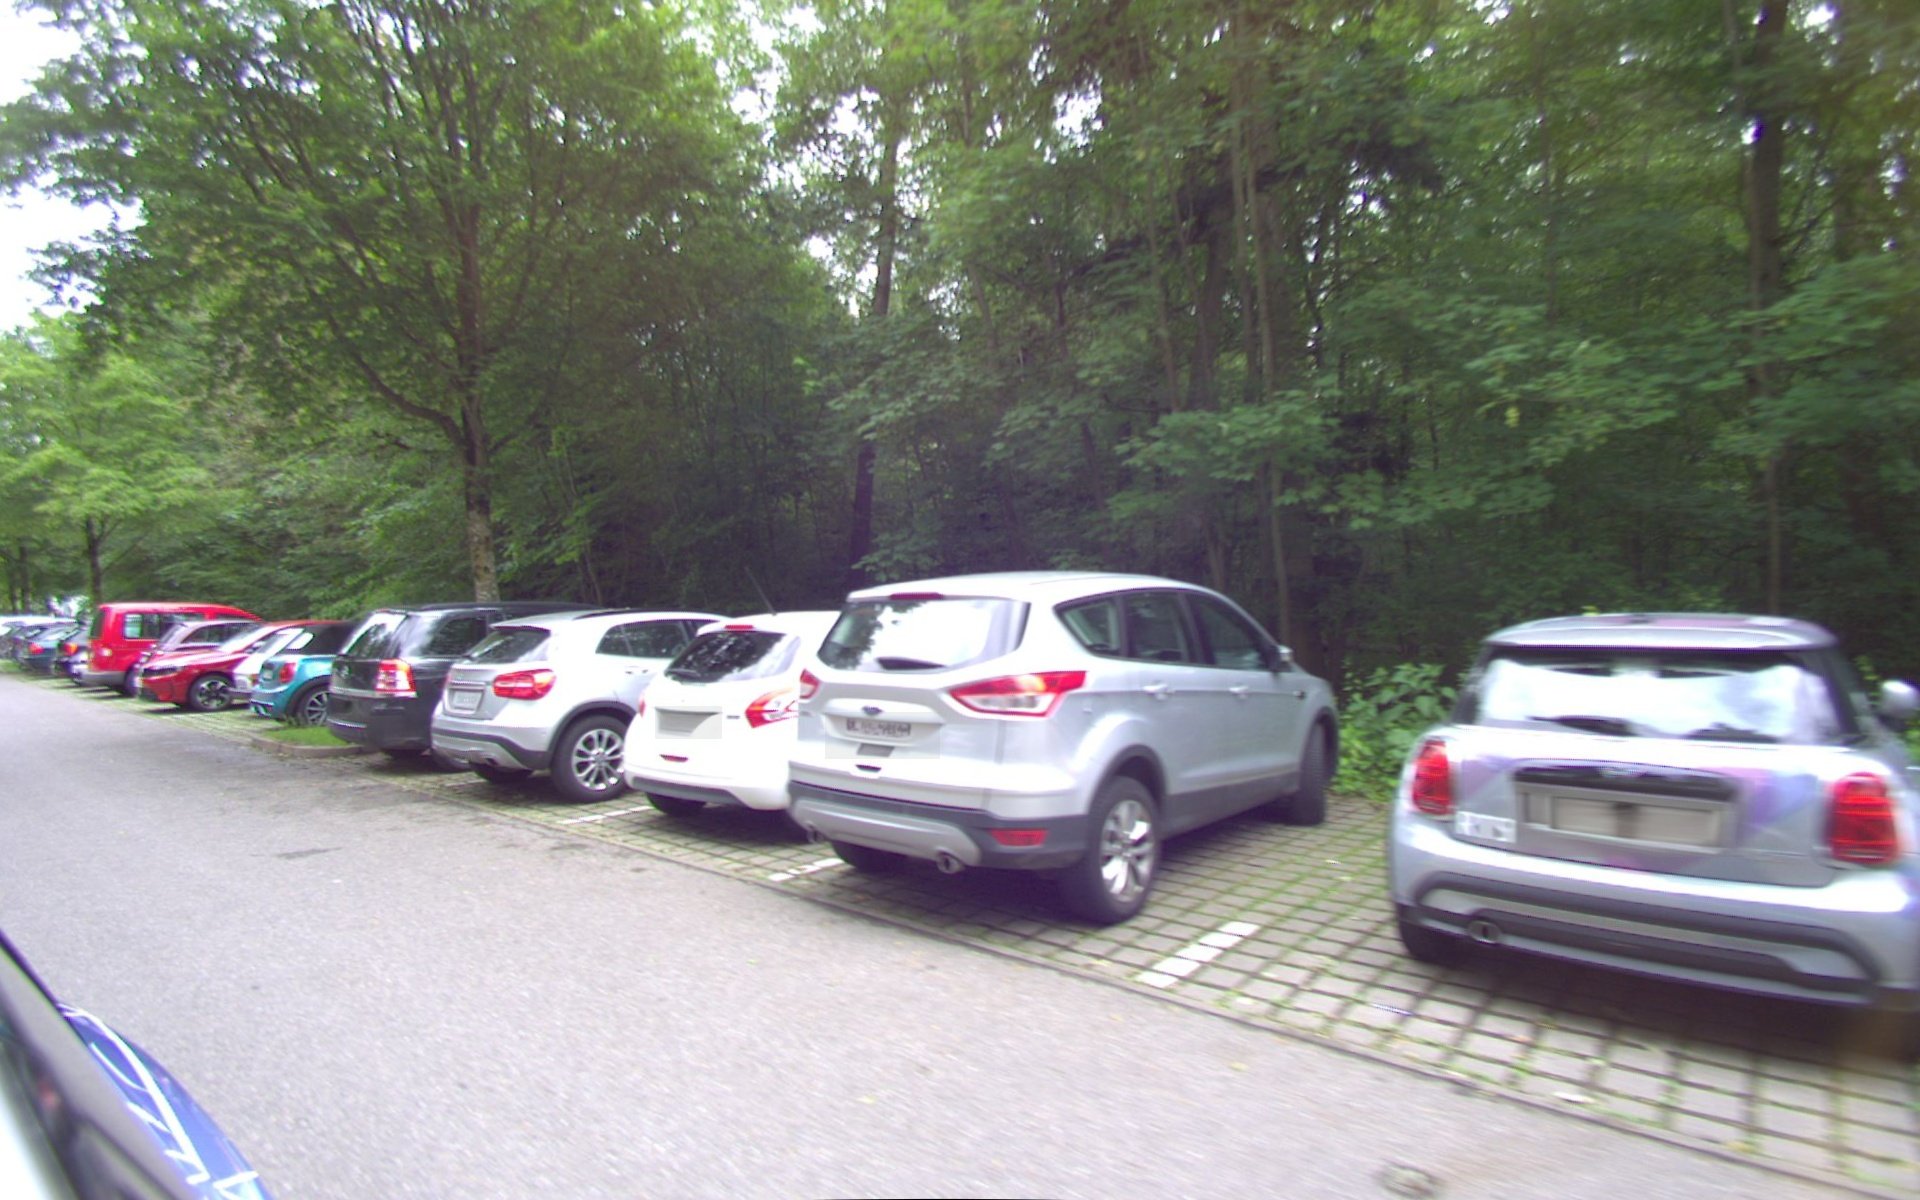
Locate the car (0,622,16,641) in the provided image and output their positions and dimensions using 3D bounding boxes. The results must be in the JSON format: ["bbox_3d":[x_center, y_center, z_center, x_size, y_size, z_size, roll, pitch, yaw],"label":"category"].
[{"bbox_3d":[-72.876,2.385,75.053,3.932,1.431,1.787,-1,0,-32],"label":"car"}]

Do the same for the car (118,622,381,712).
[{"bbox_3d":[-13.880,1.241,19.925,1.817,1.527,3.945,-2,-1,41],"label":"car"}]

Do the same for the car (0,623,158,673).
[{"bbox_3d":[-30.276,1.594,34.676,1.817,1.549,4.167,-2,-1,41],"label":"car"}]

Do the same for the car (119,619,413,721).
[{"bbox_3d":[-11.984,1.120,17.669,1.770,1.527,3.945,-2,-1,41],"label":"car"}]

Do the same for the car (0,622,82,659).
[{"bbox_3d":[-44.904,1.920,48.530,1.711,1.722,3.949,-2,-2,38],"label":"car"}]

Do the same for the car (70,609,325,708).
[{"bbox_3d":[-15.649,1.112,20.916,1.817,1.828,3.946,-2,-1,41],"label":"car"}]

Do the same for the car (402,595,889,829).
[{"bbox_3d":[-2.697,0.845,9.347,1.814,1.675,3.944,-2,-2,42],"label":"car"}]

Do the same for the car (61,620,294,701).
[{"bbox_3d":[-17.542,1.284,22.801,1.742,1.609,3.943,-2,-1,43],"label":"car"}]

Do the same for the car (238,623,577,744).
[{"bbox_3d":[-7.766,1.078,14.480,1.696,1.459,3.942,-2,-2,44],"label":"car"}]

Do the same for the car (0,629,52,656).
[{"bbox_3d":[-53.903,2.378,56.963,1.711,1.489,3.948,-2,-2,38],"label":"car"}]

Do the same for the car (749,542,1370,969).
[{"bbox_3d":[0.877,0.634,6.087,1.813,1.675,3.947,-2,-1,40],"label":"car"}]

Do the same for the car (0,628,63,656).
[{"bbox_3d":[-52.066,2.294,55.611,1.711,1.489,3.948,-2,-2,38],"label":"car"}]

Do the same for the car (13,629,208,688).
[{"bbox_3d":[-23.204,1.544,27.724,1.742,1.432,3.942,-2,-1,44],"label":"car"}]

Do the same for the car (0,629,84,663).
[{"bbox_3d":[-43.066,2.099,46.571,1.711,1.500,3.949,-2,-2,38],"label":"car"}]

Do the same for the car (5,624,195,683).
[{"bbox_3d":[-24.859,1.501,29.374,1.739,1.453,3.948,-1,0,39],"label":"car"}]

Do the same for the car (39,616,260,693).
[{"bbox_3d":[-19.307,1.229,24.221,1.742,1.609,3.943,-2,-1,43],"label":"car"}]

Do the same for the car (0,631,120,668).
[{"bbox_3d":[-37.322,2.015,41.667,1.710,1.381,3.951,-2,-1,36],"label":"car"}]

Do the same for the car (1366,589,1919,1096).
[{"bbox_3d":[3.510,0.688,4.793,1.813,1.432,3.947,-2,-1,40],"label":"car"}]

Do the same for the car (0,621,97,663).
[{"bbox_3d":[-39.510,1.766,43.101,1.711,1.740,3.949,-2,-2,38],"label":"car"}]

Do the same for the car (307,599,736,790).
[{"bbox_3d":[-4.548,0.870,10.977,1.694,1.675,3.947,-2,-2,40],"label":"car"}]

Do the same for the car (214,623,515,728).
[{"bbox_3d":[-9.687,1.136,16.685,1.770,1.459,3.945,-2,-1,41],"label":"car"}]

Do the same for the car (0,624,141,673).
[{"bbox_3d":[-32.102,1.682,36.281,1.710,1.528,3.951,-1,0,36],"label":"car"}]

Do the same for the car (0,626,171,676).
[{"bbox_3d":[-28.418,1.613,32.918,1.819,1.467,4.163,-2,-1,45],"label":"car"}]

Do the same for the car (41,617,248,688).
[{"bbox_3d":[-21.050,1.298,26.246,1.740,1.609,3.946,-2,-1,41],"label":"car"}]

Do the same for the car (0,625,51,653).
[{"bbox_3d":[-55.242,2.266,58.349,1.711,1.489,3.949,-2,-1,38],"label":"car"}]
